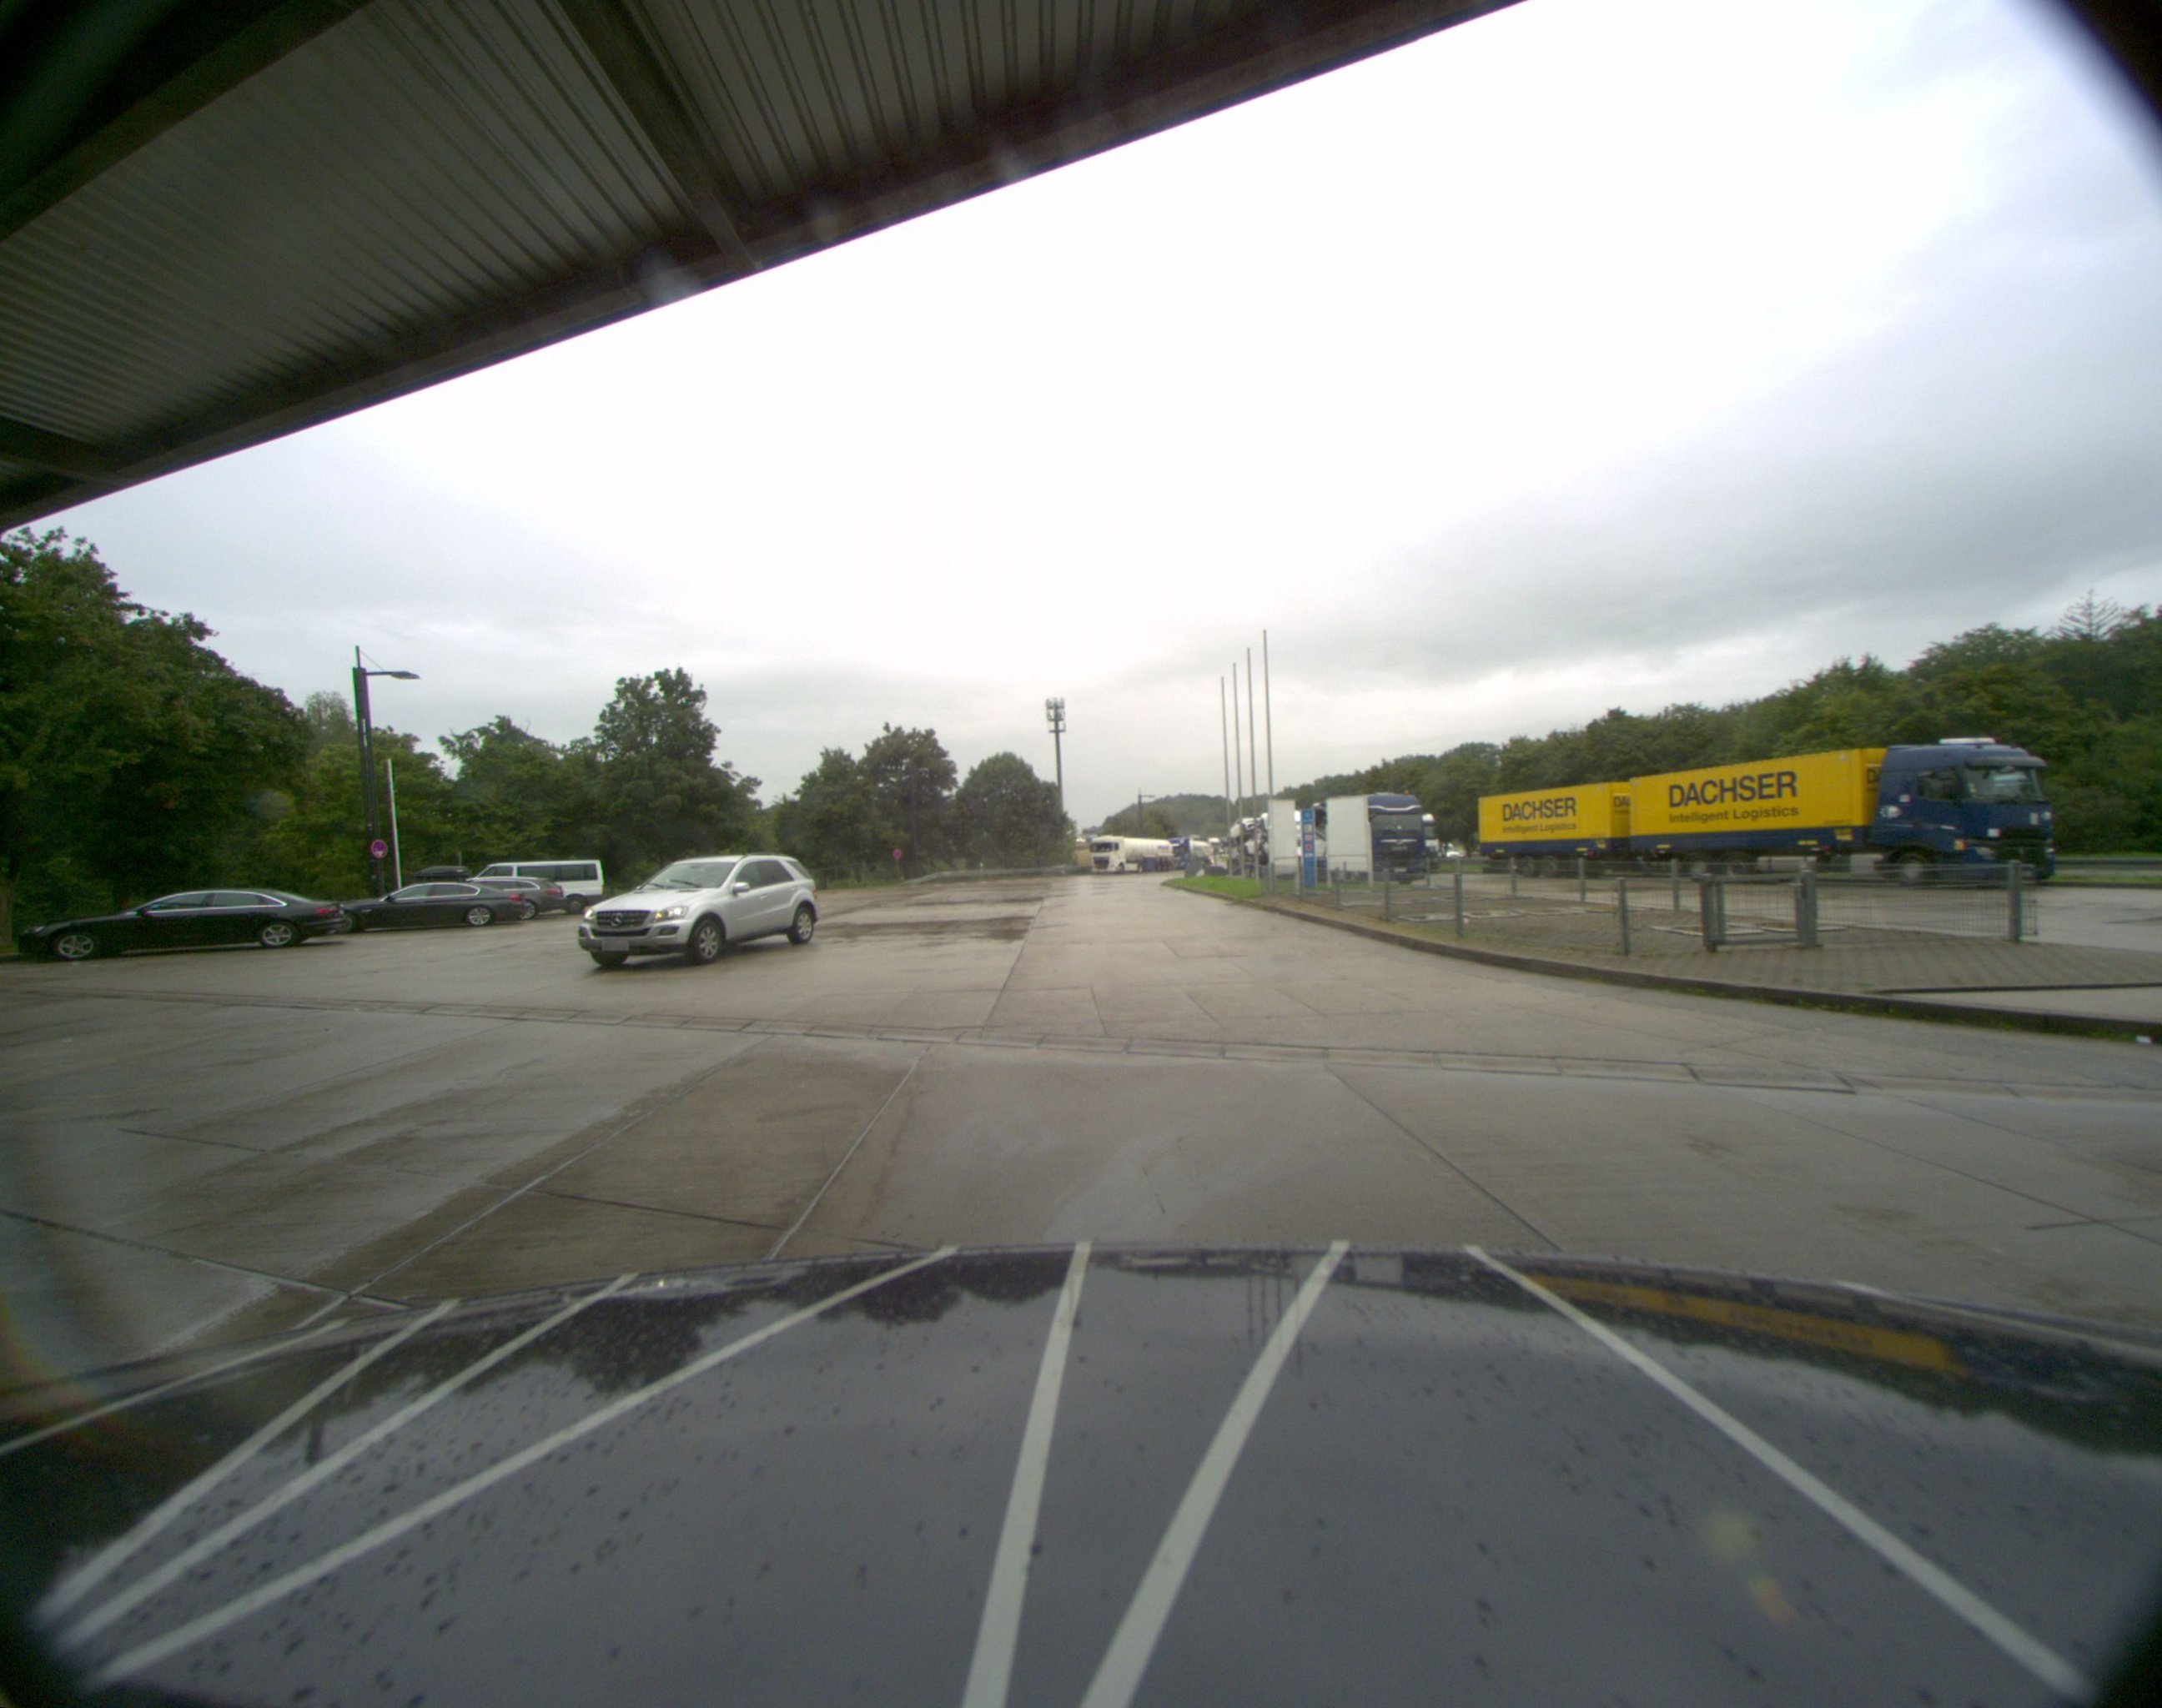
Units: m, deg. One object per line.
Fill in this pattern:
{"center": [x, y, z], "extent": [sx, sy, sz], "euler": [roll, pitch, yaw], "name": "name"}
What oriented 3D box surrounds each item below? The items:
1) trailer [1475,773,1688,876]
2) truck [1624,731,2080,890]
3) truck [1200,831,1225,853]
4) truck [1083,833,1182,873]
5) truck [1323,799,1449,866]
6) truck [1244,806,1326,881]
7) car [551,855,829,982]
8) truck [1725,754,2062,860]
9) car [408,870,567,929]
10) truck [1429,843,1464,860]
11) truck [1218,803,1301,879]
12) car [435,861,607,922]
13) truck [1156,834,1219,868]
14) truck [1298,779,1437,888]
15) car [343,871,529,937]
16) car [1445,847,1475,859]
{"center": [21.796, -1.184, 33.935], "extent": [2.757, 3.894, 8.700], "euler": [-2, 1, -9], "name": "trailer"}
{"center": [23.157, -1.127, 24.314], "extent": [2.757, 3.894, 10.678], "euler": [-2, 1, -8], "name": "truck"}
{"center": [32.506, -2.851, 188.237], "extent": [3.145, 5.092, 11.515], "euler": [-2, 1, -5], "name": "truck"}
{"center": [5.461, -0.158, 75.197], "extent": [3.505, 3.584, 14.426], "euler": [-2, 0, 31], "name": "truck"}
{"center": [19.888, -1.298, 50.556], "extent": [2.757, 3.894, 10.678], "euler": [-2, 1, -8], "name": "truck"}
{"center": [11.051, -0.556, 41.576], "extent": [2.665, 3.750, 4.747], "euler": [-2, 1, -6], "name": "truck"}
{"center": [-6.461, 0.955, 13.287], "extent": [1.864, 1.788, 4.543], "euler": [-2, 0, 10], "name": "car"}
{"center": [33.915, -1.761, 32.699], "extent": [2.421, 3.785, 10.223], "euler": [-2, 1, -10], "name": "truck"}
{"center": [-19.467, 1.432, 25.149], "extent": [4.007, 1.650, 1.596], "euler": [-2, 0, -35], "name": "car"}
{"center": [48.621, -0.333, 101.073], "extent": [1.730, 2.252, 4.633], "euler": [-2, 1, -10], "name": "truck"}
{"center": [10.576, -0.725, 45.767], "extent": [2.665, 4.157, 6.618], "euler": [-2, 1, -6], "name": "truck"}
{"center": [-20.423, 1.294, 27.986], "extent": [4.898, 1.938, 2.310], "euler": [-2, 0, -35], "name": "car"}
{"center": [12.790, -0.402, 89.678], "extent": [3.506, 3.584, 14.685], "euler": [-2, 0, 23], "name": "truck"}
{"center": [12.188, -0.795, 33.168], "extent": [2.665, 4.157, 7.103], "euler": [-2, 0, -6], "name": "truck"}
{"center": [-18.872, 1.399, 22.497], "extent": [4.007, 1.650, 1.596], "euler": [-2, 0, -35], "name": "car"}
{"center": [54.874, -0.156, 110.201], "extent": [1.704, 1.684, 3.995], "euler": [-2, 1, -13], "name": "car"}
